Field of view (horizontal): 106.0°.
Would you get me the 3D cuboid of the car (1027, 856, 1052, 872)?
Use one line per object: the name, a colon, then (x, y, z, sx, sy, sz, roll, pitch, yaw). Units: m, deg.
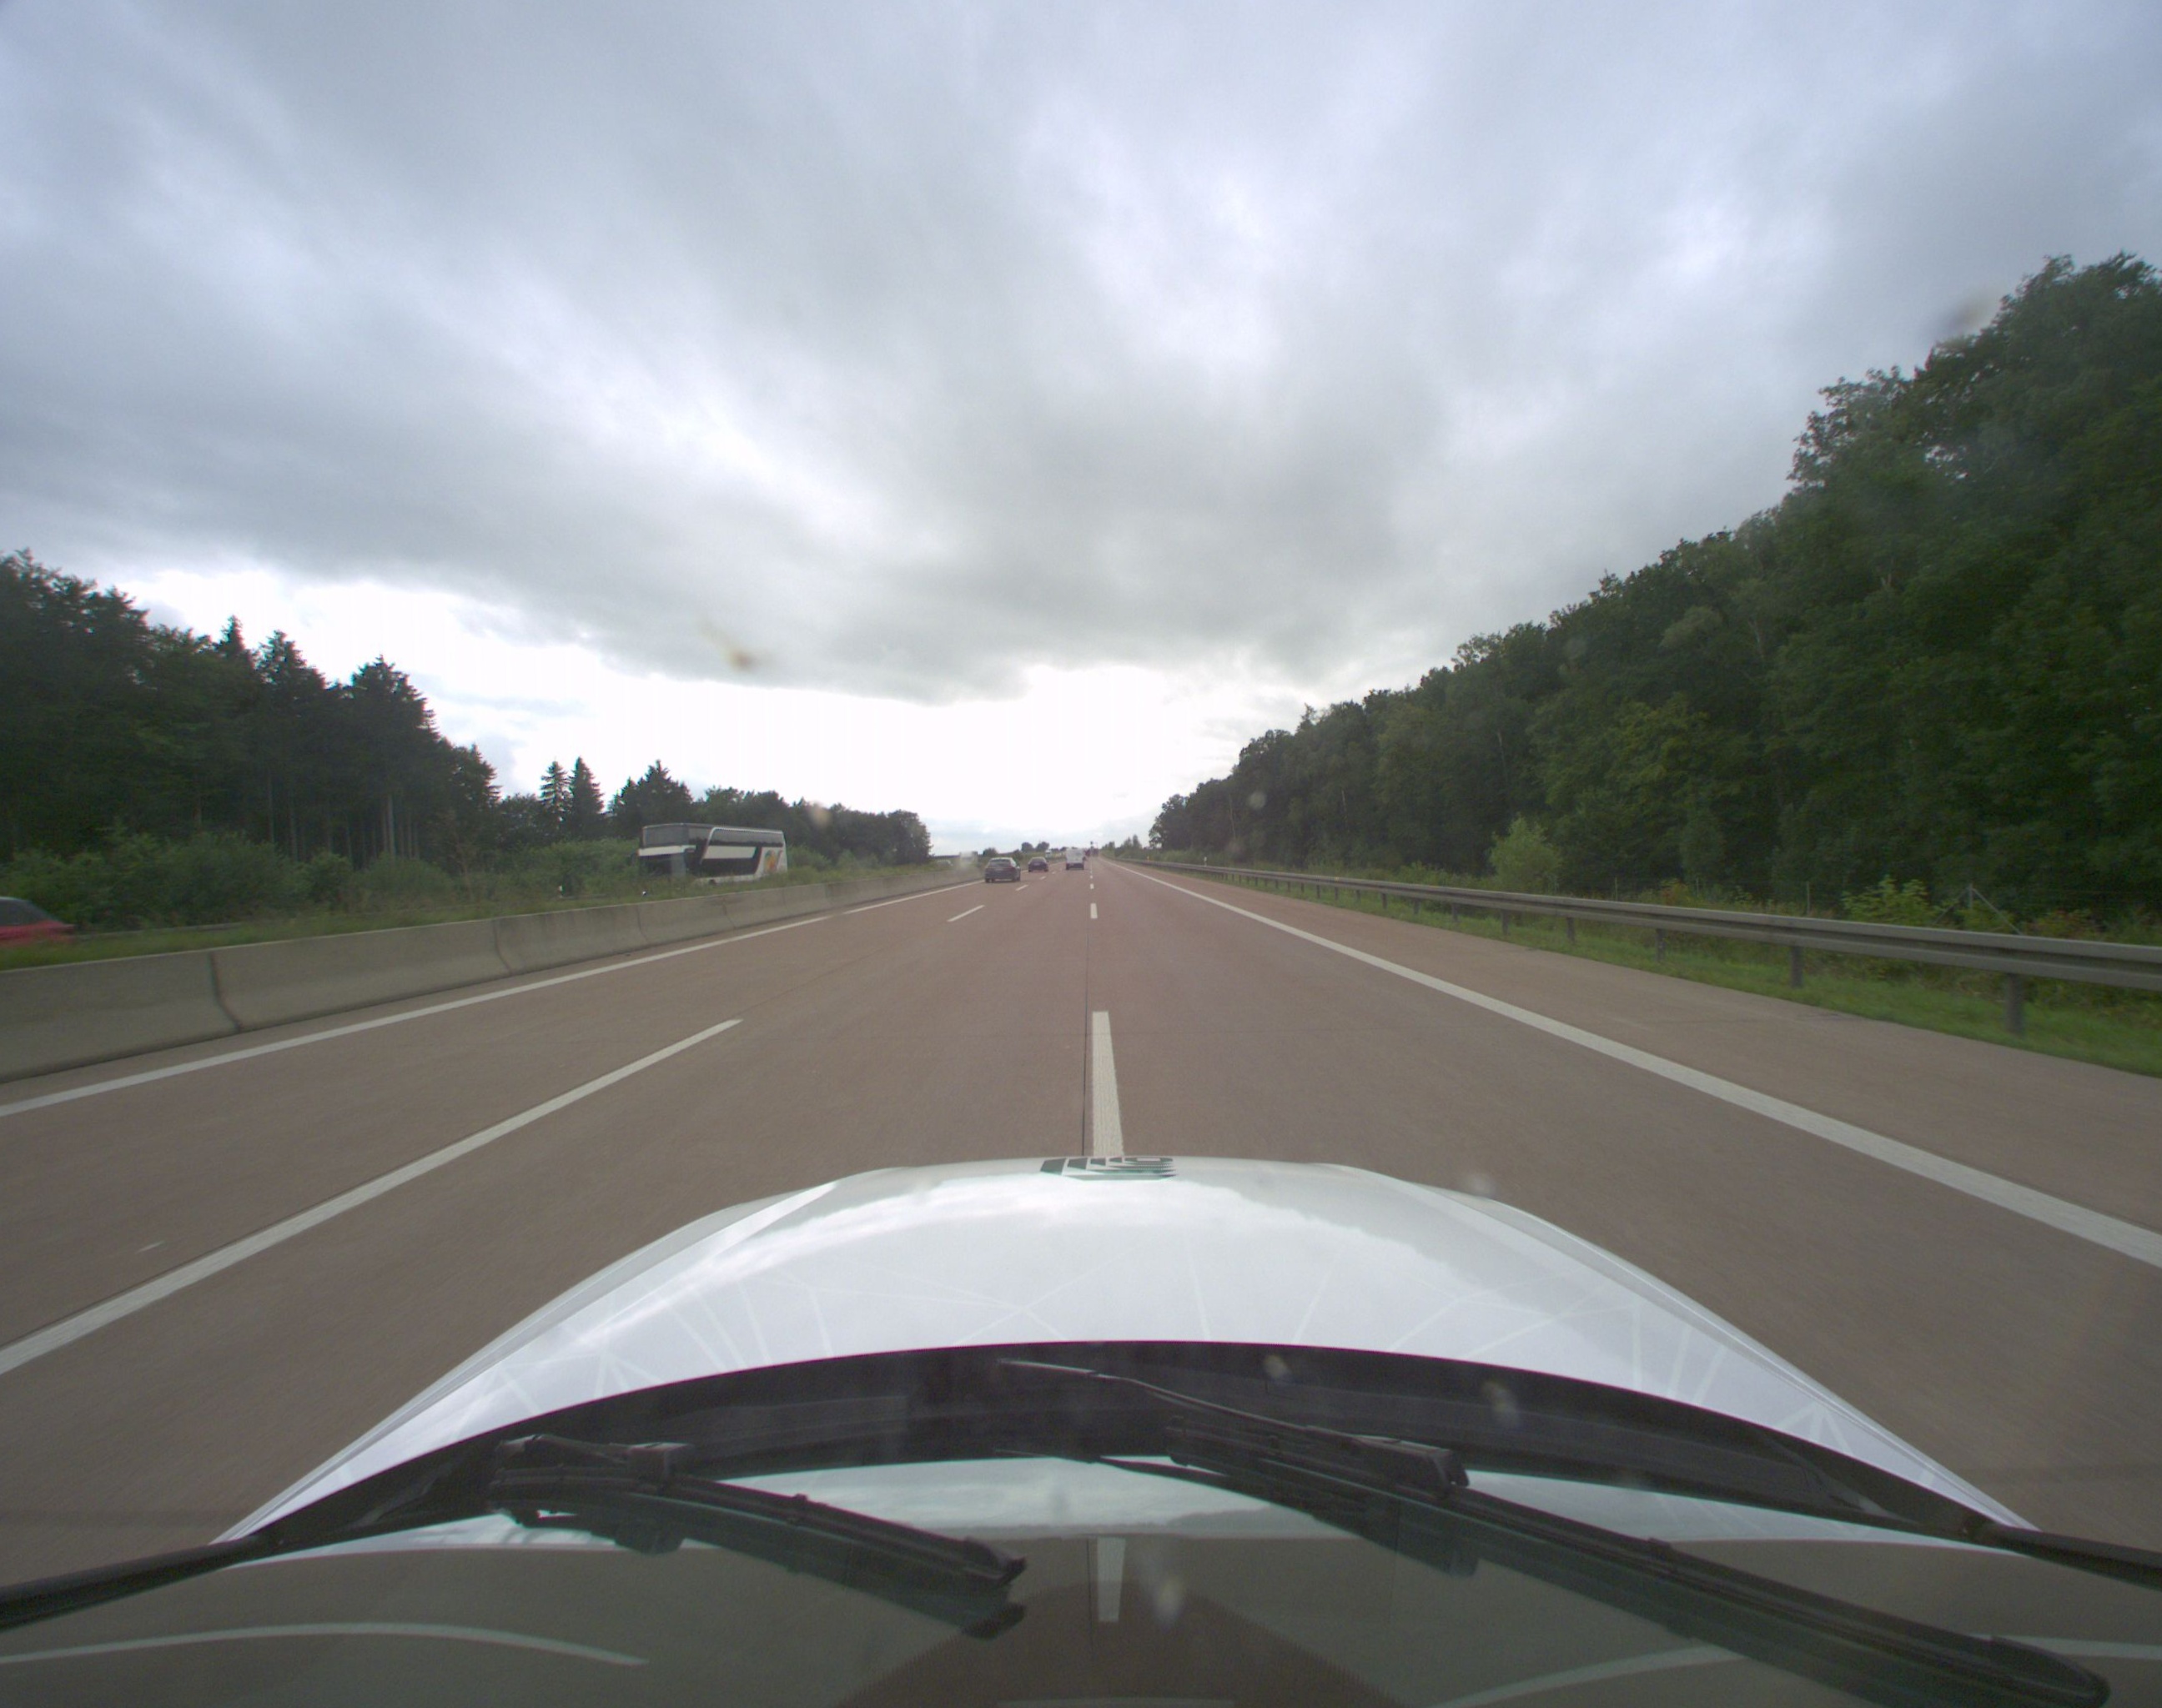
car: (-4.139, 0.978, 82.043, 2.077, 1.550, 5.677, 0, 0, 2)

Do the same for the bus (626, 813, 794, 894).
bus: (-20.538, -0.019, 46.696, 3.039, 3.888, 14.359, -1, 0, 0)

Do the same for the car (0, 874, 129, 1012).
car: (-15.850, 1.241, 10.578, 1.986, 1.833, 4.166, 1, 0, 1)

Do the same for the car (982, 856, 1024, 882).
car: (-4.769, 0.887, 50.692, 2.052, 1.491, 5.453, -1, 0, 0)

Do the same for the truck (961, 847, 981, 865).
truck: (-19.372, 0.395, 143.882, 2.349, 3.099, 7.481, 1, 0, 1)

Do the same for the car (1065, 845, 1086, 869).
car: (-0.554, 0.282, 92.196, 2.130, 2.507, 7.133, -1, 0, 1)
